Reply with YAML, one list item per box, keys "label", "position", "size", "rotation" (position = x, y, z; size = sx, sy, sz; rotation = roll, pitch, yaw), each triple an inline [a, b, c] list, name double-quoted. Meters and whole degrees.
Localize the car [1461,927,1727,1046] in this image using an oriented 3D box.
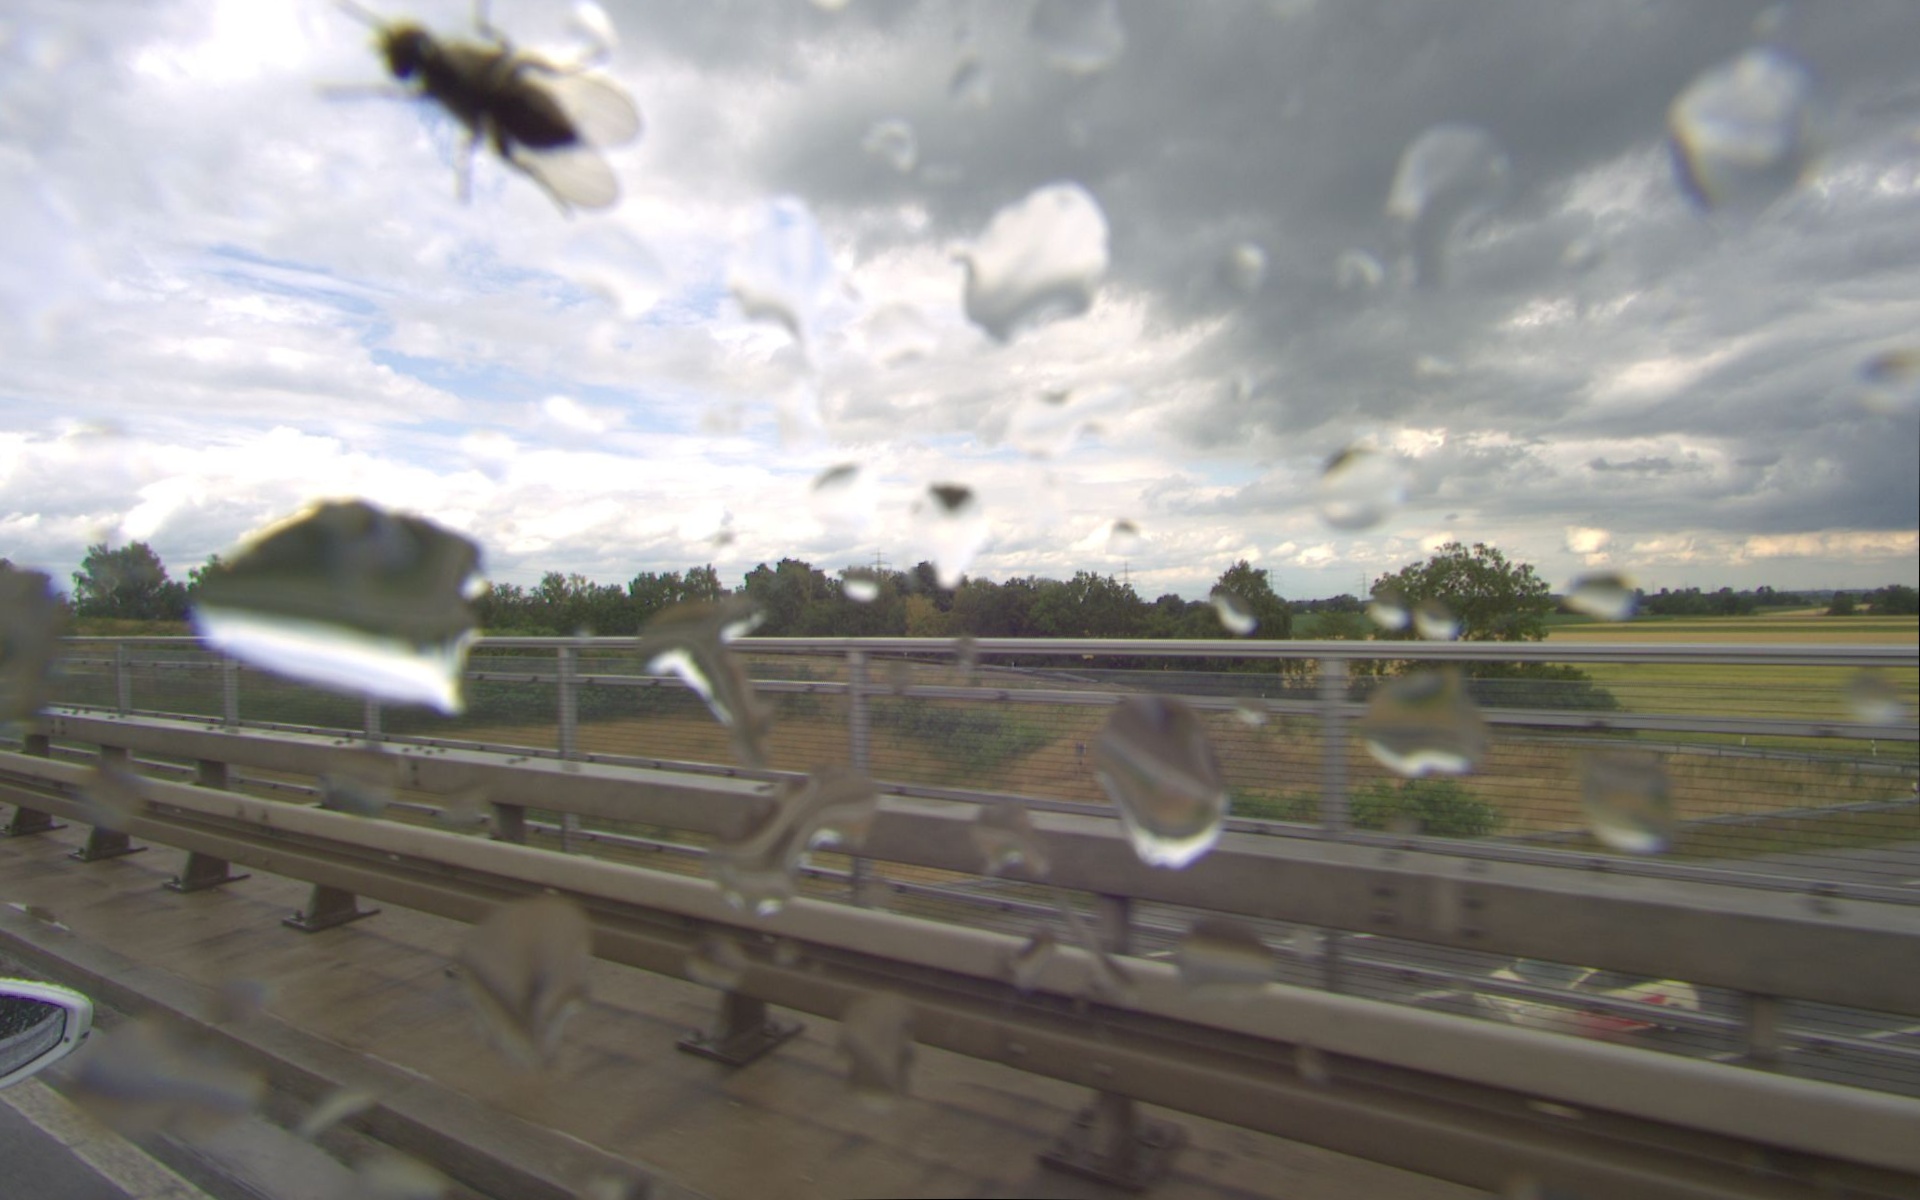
- label: "car"
  position: [13.304, 8.093, 21.147]
  size: [4.634, 1.690, 1.815]
  rotation: [0, -2, -7]
